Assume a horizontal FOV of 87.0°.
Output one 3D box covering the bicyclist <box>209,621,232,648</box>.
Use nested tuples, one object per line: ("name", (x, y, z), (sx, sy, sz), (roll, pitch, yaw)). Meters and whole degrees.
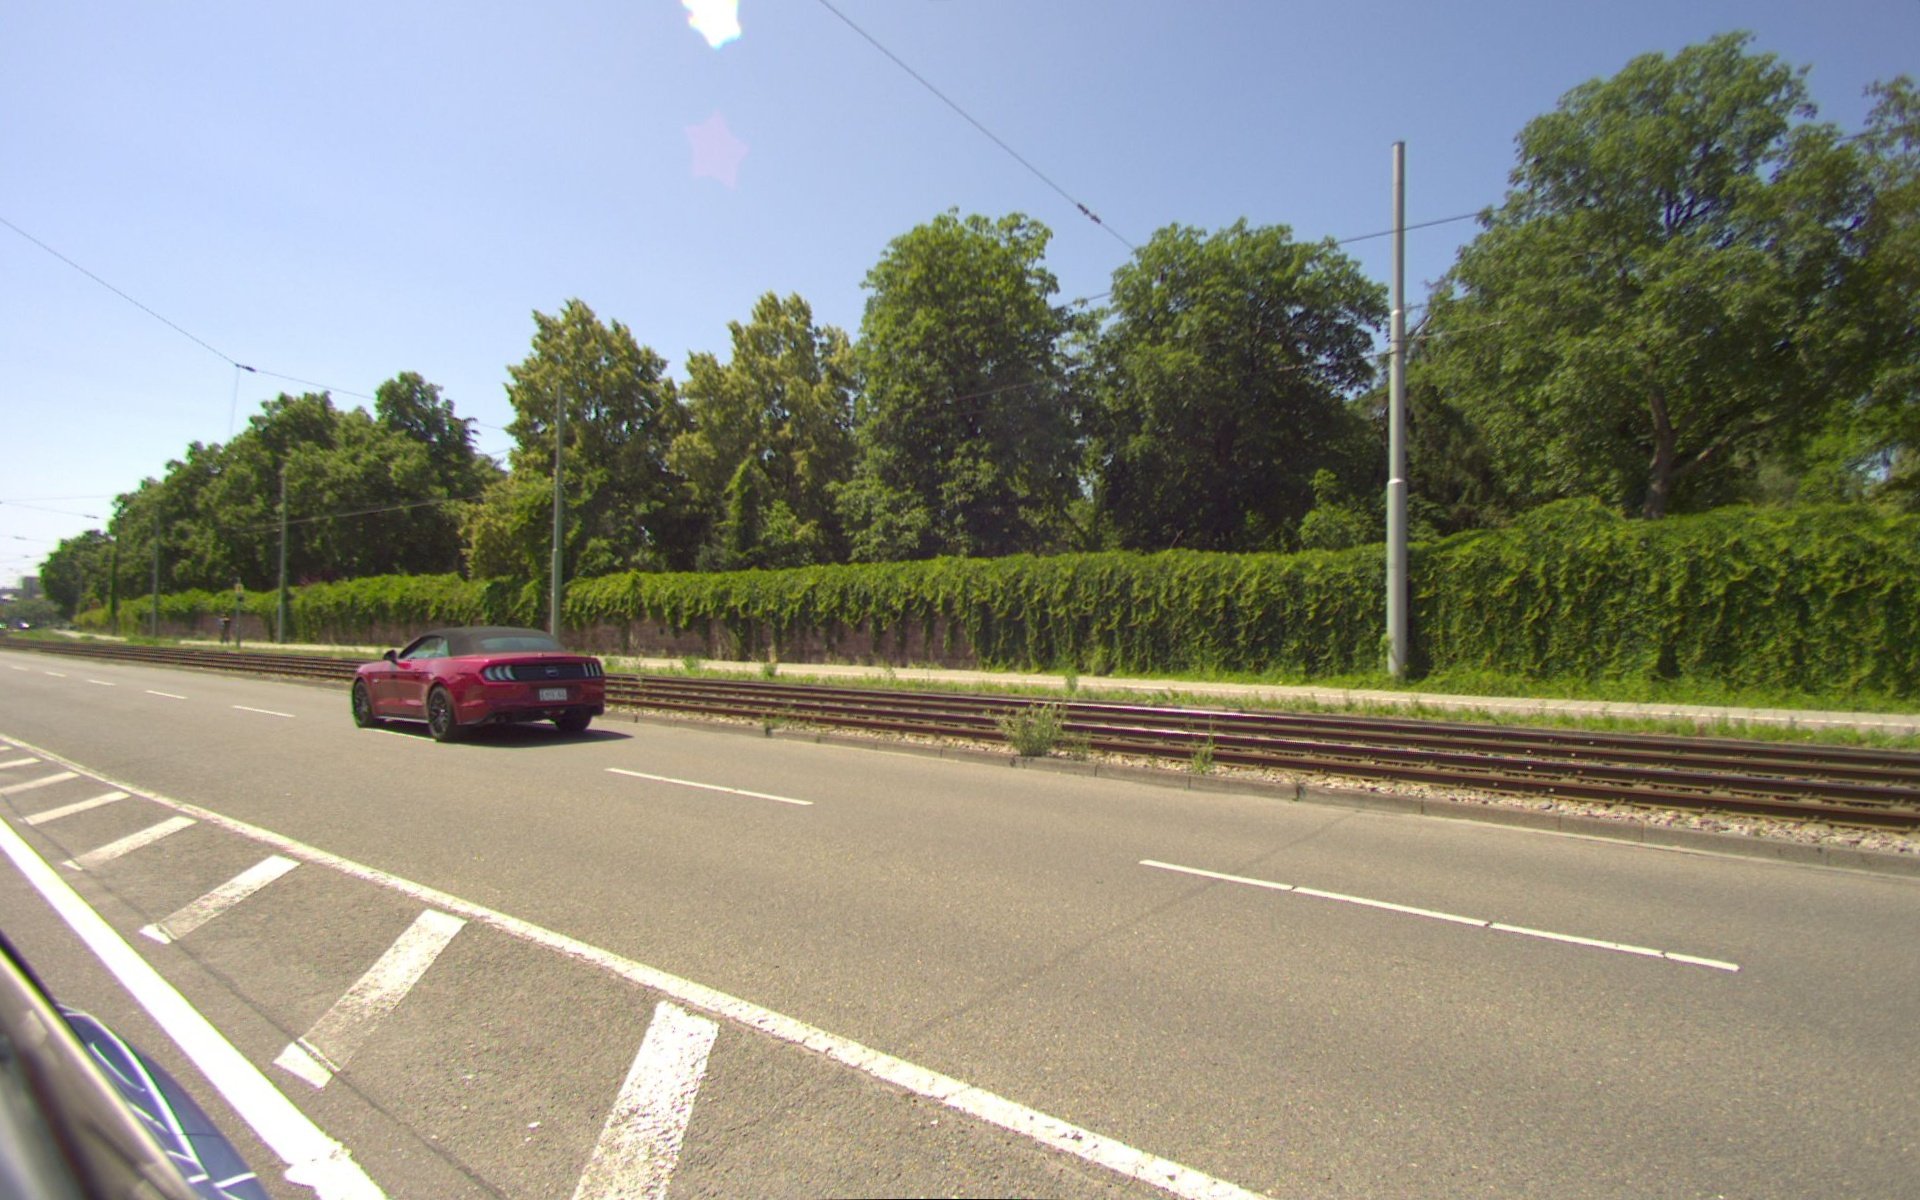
("bicyclist", (-42.835, 1.991, 58.623), (0.983, 1.497, 1.001), (1, -2, -43))

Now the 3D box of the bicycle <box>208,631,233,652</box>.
("bicycle", (-42.813, 2.368, 58.602), (0.818, 1.165, 2.687), (1, -2, -44))

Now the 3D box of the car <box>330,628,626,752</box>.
("car", (-6.550, 1.062, 13.523), (4.536, 1.369, 1.963), (-1, -2, 42))
